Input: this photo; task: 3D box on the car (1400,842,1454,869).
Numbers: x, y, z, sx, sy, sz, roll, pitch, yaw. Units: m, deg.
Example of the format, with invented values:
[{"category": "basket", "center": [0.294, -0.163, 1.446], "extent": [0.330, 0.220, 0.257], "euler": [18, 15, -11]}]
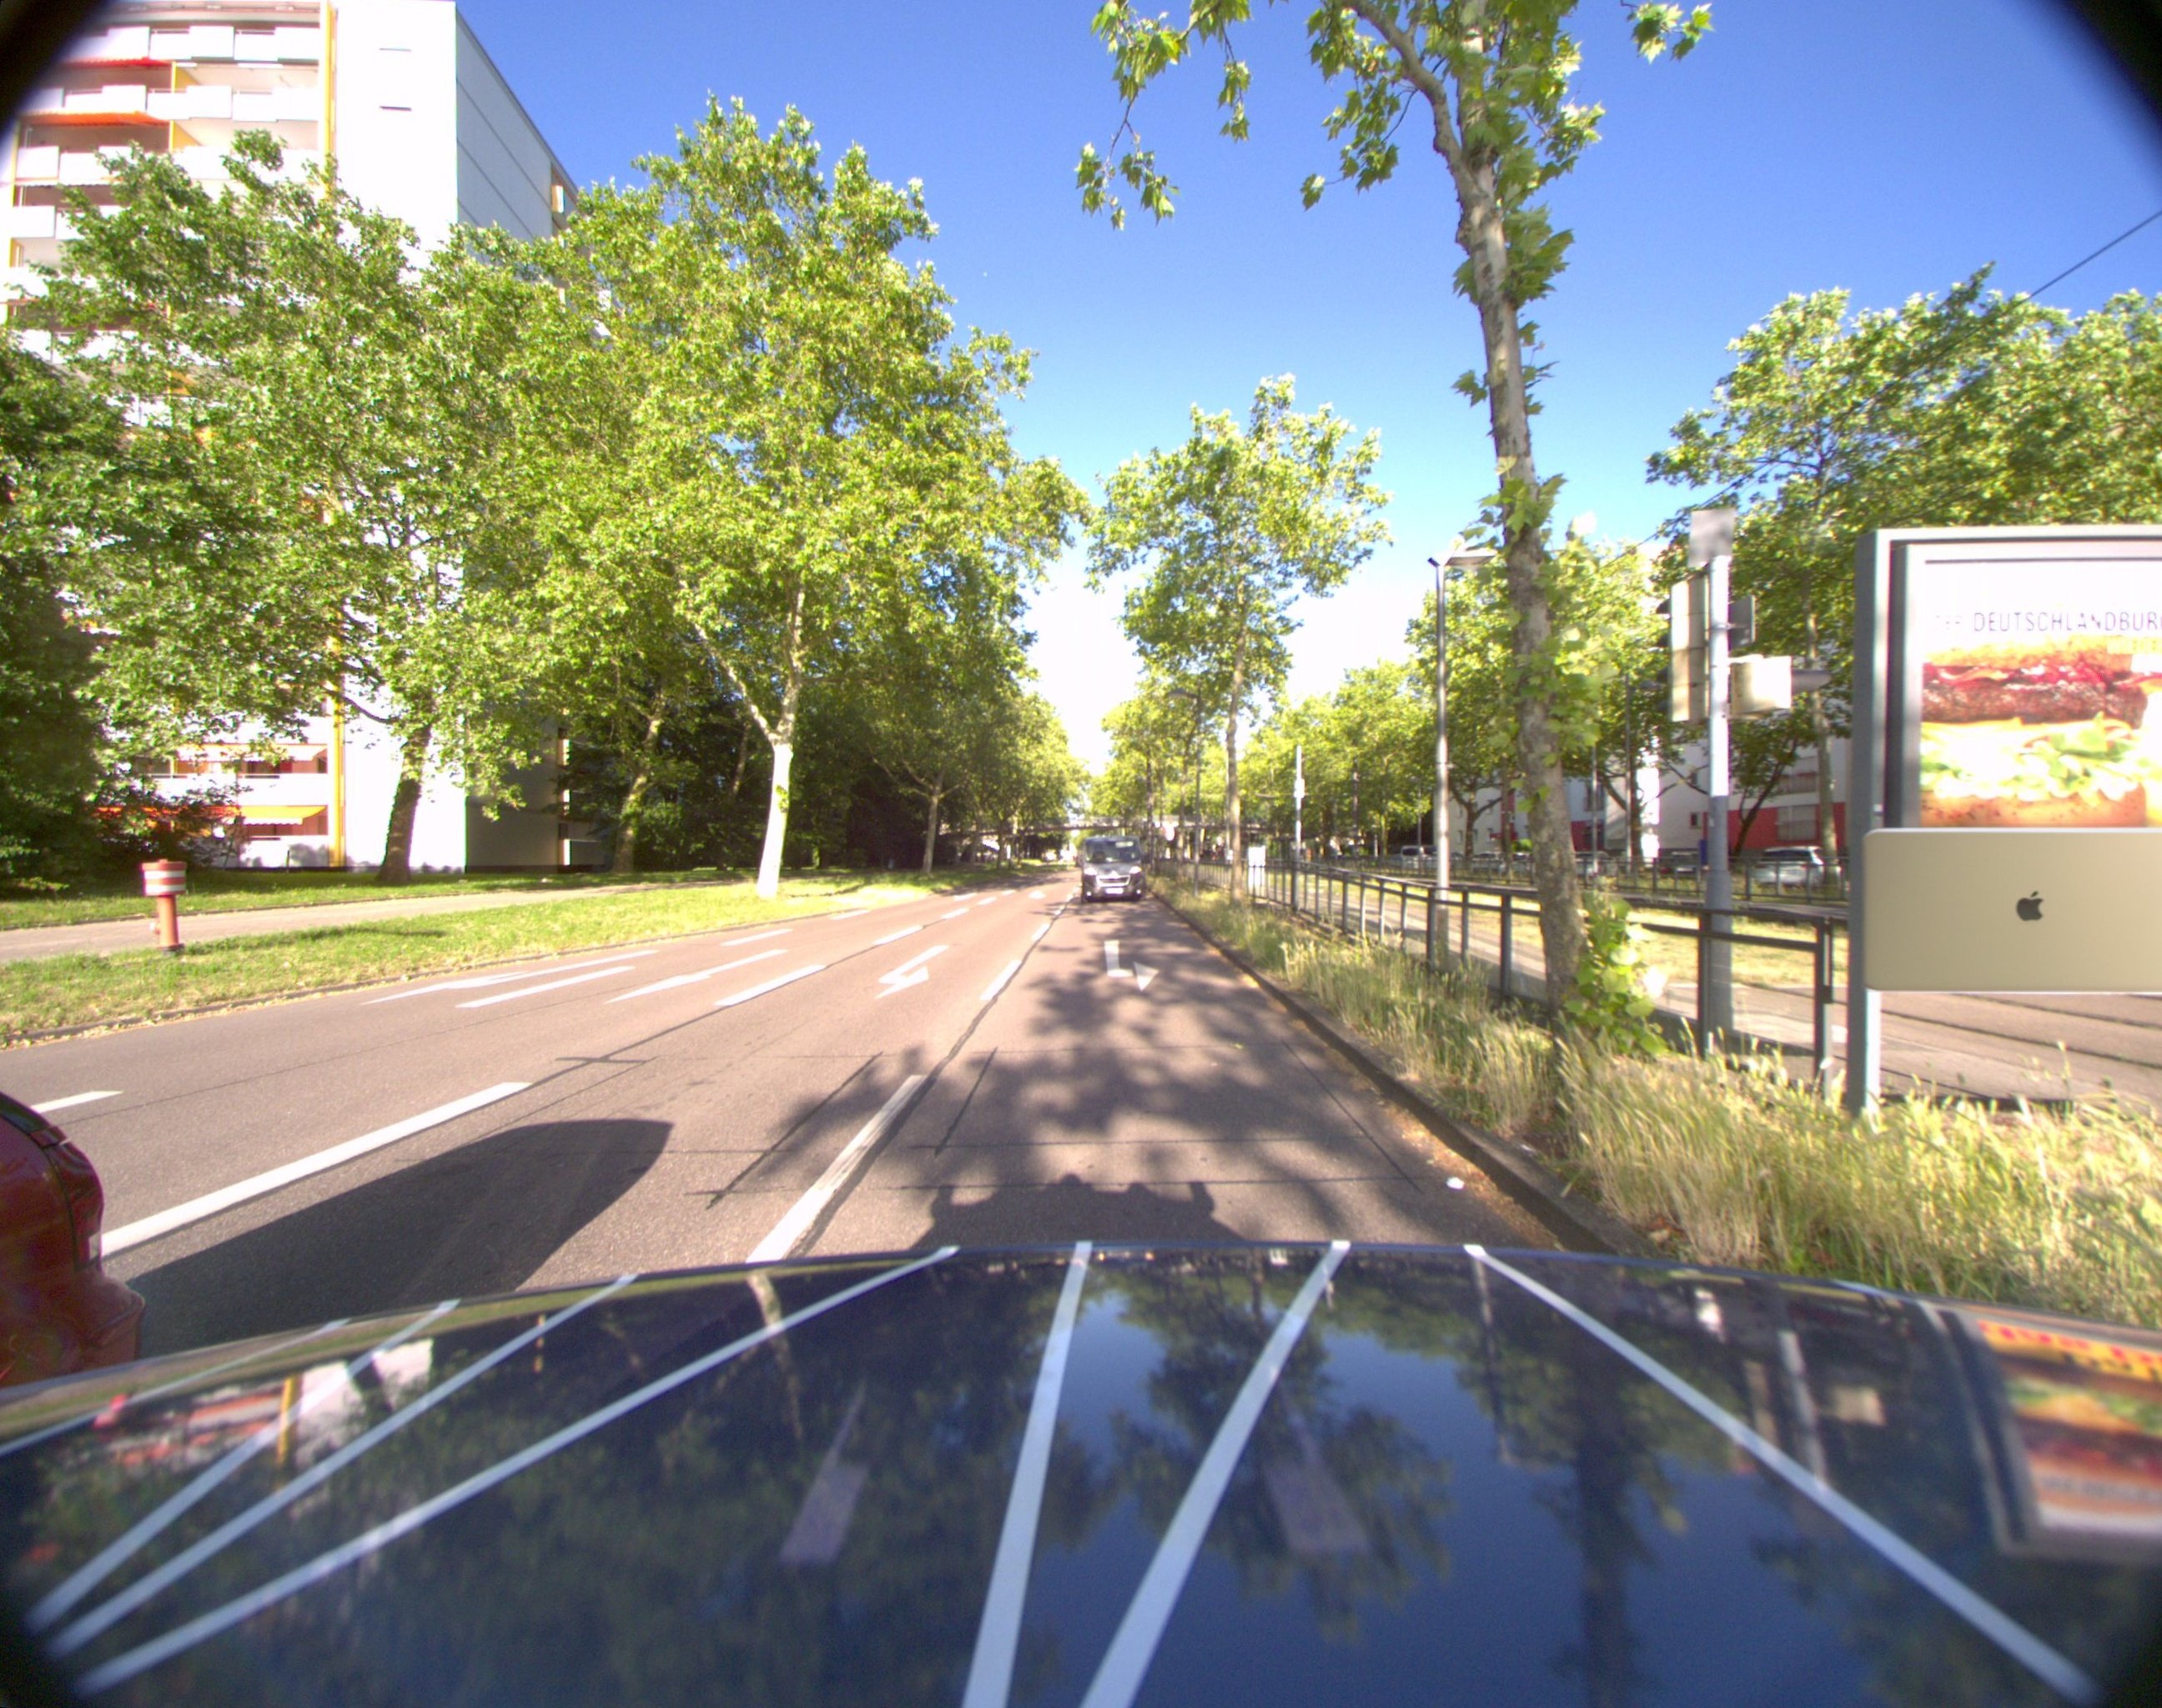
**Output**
[{"category": "car", "center": [25.958, 0.085, 56.979], "extent": [4.376, 1.873, 1.919], "euler": [-1, 1, -39]}]

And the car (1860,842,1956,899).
[{"category": "car", "center": [25.016, 0.461, 22.947], "extent": [3.689, 1.558, 1.683], "euler": [-1, 1, -38]}]

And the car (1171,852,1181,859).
[{"category": "car", "center": [21.681, 0.325, 173.606], "extent": [1.923, 1.565, 4.368], "euler": [-1, 0, 2]}]

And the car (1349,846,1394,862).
[{"category": "car", "center": [26.862, 0.008, 70.227], "extent": [4.376, 1.367, 1.919], "euler": [-1, 1, -39]}]

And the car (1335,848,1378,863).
[{"category": "car", "center": [26.585, 0.099, 73.265], "extent": [4.376, 1.367, 1.919], "euler": [-1, 1, -39]}]

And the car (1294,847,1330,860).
[{"category": "car", "center": [27.198, -0.059, 89.415], "extent": [4.376, 1.367, 1.919], "euler": [-1, 1, -39]}]

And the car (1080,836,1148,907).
[{"category": "car", "center": [1.038, 0.510, 25.687], "extent": [2.040, 2.102, 5.113], "euler": [-2, 0, 1]}]

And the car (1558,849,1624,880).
[{"category": "car", "center": [25.328, 0.501, 37.677], "extent": [3.689, 1.384, 1.645], "euler": [-1, 1, -38]}]

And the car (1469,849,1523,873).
[{"category": "car", "center": [25.954, 0.415, 47.482], "extent": [3.689, 1.440, 1.645], "euler": [-1, 1, -39]}]

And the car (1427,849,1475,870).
[{"category": "car", "center": [26.243, 0.348, 53.885], "extent": [3.689, 1.388, 1.645], "euler": [-1, 1, -39]}]

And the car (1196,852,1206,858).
[{"category": "car", "center": [25.818, 0.241, 163.276], "extent": [1.672, 1.351, 3.295], "euler": [-1, 0, 1]}]

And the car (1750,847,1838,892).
[{"category": "car", "center": [25.054, 0.494, 26.673], "extent": [3.689, 1.425, 1.683], "euler": [-1, 1, -38]}]

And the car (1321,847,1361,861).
[{"category": "car", "center": [27.239, 0.025, 79.562], "extent": [4.376, 1.367, 1.919], "euler": [-1, 1, -39]}]

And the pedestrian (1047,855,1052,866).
[{"category": "pedestrian", "center": [-4.306, 0.902, 103.557], "extent": [0.397, 1.454, 0.418], "euler": [0, 1, 34]}]

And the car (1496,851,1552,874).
[{"category": "car", "center": [26.197, 0.482, 44.947], "extent": [3.689, 1.234, 1.645], "euler": [-1, 1, -39]}]

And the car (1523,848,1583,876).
[{"category": "car", "center": [25.808, 0.429, 41.505], "extent": [3.689, 1.440, 1.645], "euler": [-1, 1, -39]}]
